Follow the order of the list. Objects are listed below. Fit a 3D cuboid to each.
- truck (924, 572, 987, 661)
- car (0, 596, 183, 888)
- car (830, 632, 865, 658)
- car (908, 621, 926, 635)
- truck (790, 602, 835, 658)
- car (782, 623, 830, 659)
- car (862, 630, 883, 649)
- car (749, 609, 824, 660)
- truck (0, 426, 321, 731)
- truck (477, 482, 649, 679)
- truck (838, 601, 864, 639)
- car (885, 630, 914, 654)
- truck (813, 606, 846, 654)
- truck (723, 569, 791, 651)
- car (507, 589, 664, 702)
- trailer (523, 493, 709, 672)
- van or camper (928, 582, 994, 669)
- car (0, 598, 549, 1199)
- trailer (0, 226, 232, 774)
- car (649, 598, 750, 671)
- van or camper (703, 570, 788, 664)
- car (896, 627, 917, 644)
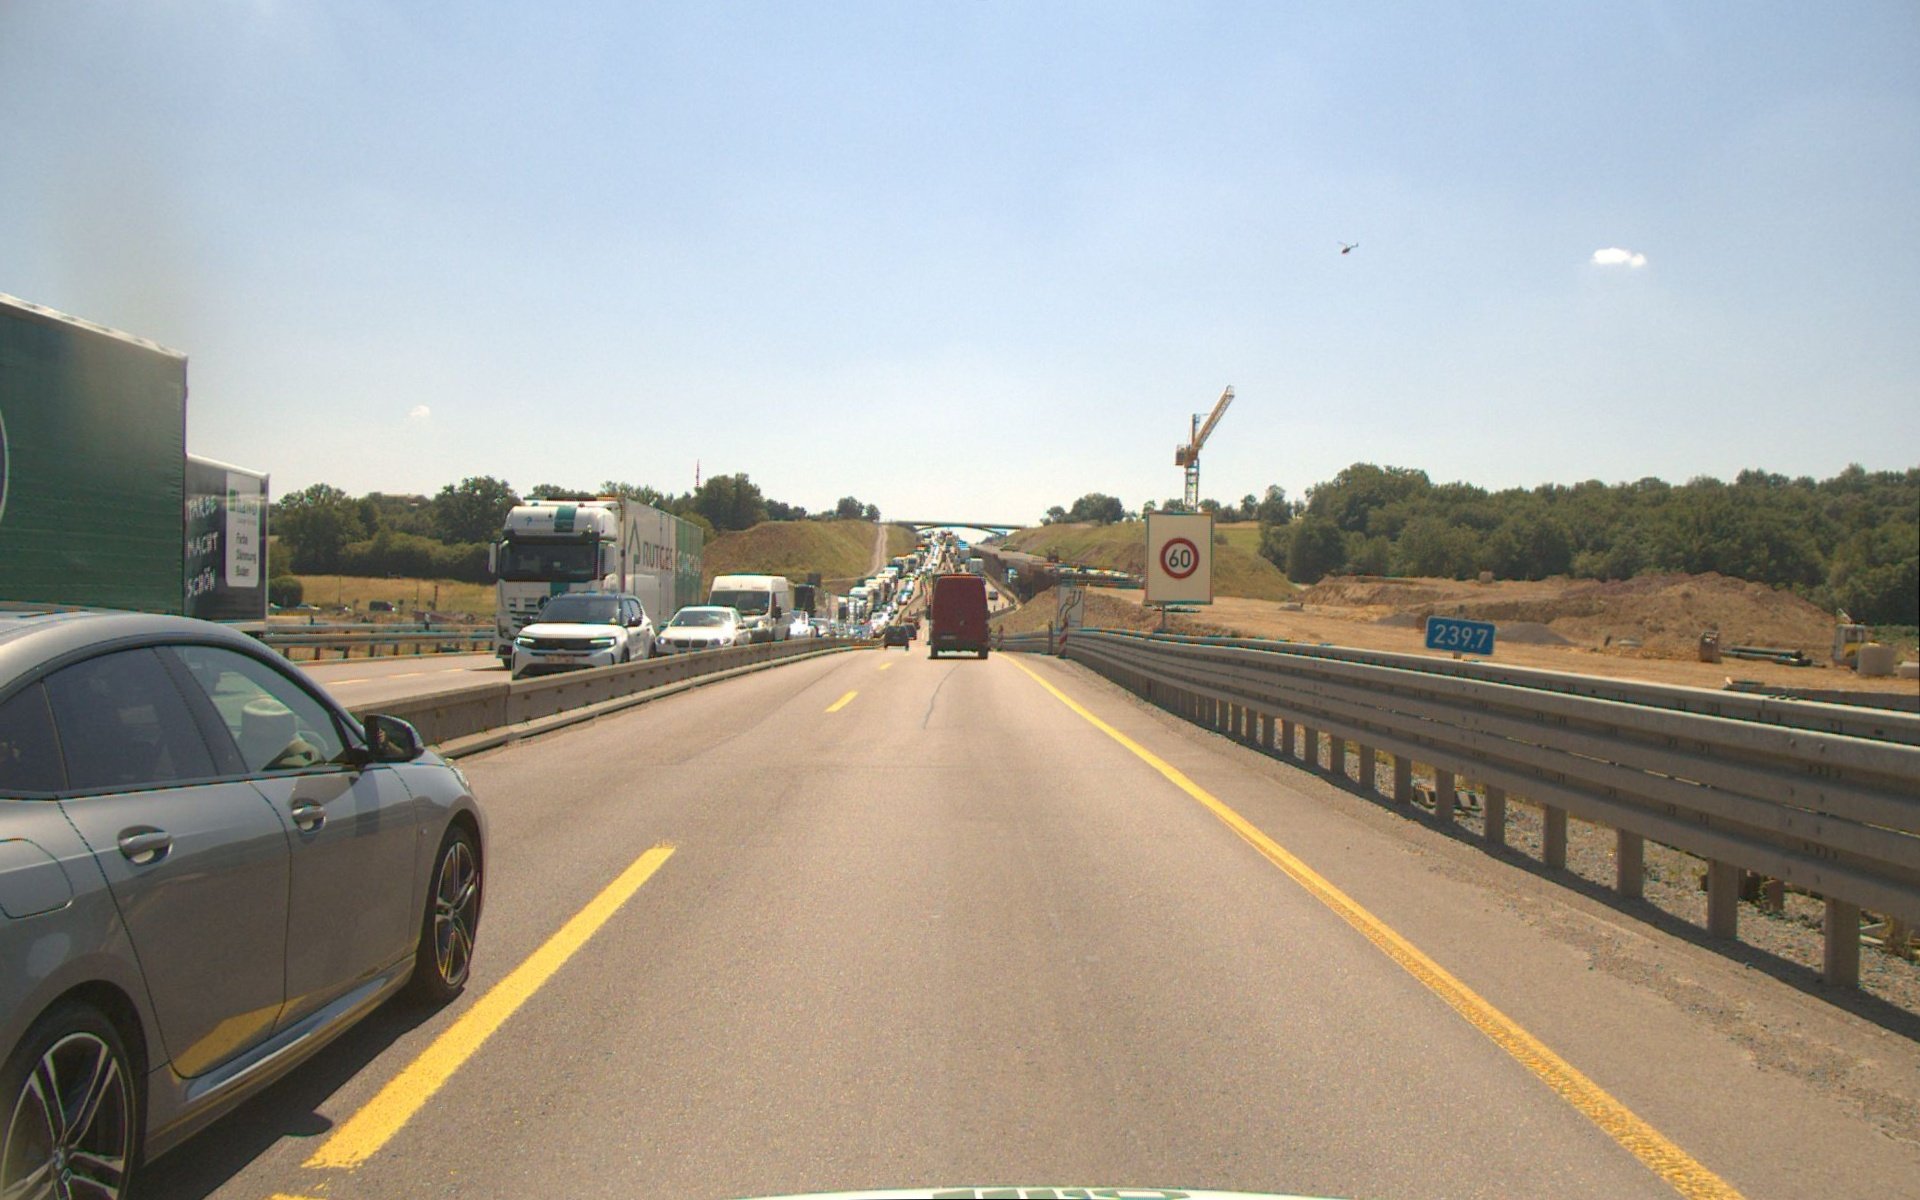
[{"bbox_3d":[-0.320,0.898,93.678,2.961,4.775,6.925,-1,0,-5],"label":"truck"},{"bbox_3d":[-5.898,0.723,8.258,1.827,1.484,4.606,2,0,-1],"label":"car"},{"bbox_3d":[-7.112,2.806,104.986,1.879,1.448,5.089,3,0,-2],"label":"car"},{"bbox_3d":[-5.111,3.292,194.872,1.971,1.572,4.132,2,0,0],"label":"car"},{"bbox_3d":[-11.499,2.340,129.523,3.035,4.271,6.698,1,-1,-2],"label":"truck"},{"bbox_3d":[-7.109,1.875,76.792,1.844,1.457,5.123,2,0,-2],"label":"car"},{"bbox_3d":[-8.487,3.833,161.186,1.953,1.660,4.756,2,0,-2],"label":"car"},{"bbox_3d":[-6.677,1.289,64.245,2.323,1.756,5.780,2,0,-1],"label":"car"},{"bbox_3d":[-12.755,-0.303,25.109,2.845,3.830,8.366,2,0,-1],"label":"truck"},{"bbox_3d":[-9.621,-0.436,40.776,2.749,4.469,6.224,0,0,-1],"label":"truck"},{"bbox_3d":[-11.618,2.174,177.317,2.474,3.923,8.667,1,-1,-2],"label":"truck"},{"bbox_3d":[-4.299,2.955,116.920,1.971,1.572,4.130,1,0,-3],"label":"car"},{"bbox_3d":[-11.966,2.745,151.720,2.919,4.258,5.868,1,-1,-5],"label":"truck"},{"bbox_3d":[-11.144,0.630,91.712,2.746,4.225,10.073,2,-1,-2],"label":"truck"},{"bbox_3d":[-6.161,0.710,27.652,1.721,1.675,4.154,2,0,-2],"label":"car"},{"bbox_3d":[-9.661,-0.304,48.252,2.758,4.508,13.165,0,-1,0],"label":"trailer"},{"bbox_3d":[-0.015,0.852,56.003,1.989,2.792,4.512,1,0,-3],"label":"van or camper"},{"bbox_3d":[-2.632,0.739,4.540,1.814,1.477,4.742,0,0,0],"label":"car"},{"bbox_3d":[-9.452,-0.827,11.626,3.038,4.543,13.017,0,0,-1],"label":"trailer"},{"bbox_3d":[-6.083,0.756,39.118,1.955,1.524,4.969,2,0,-5],"label":"car"},{"bbox_3d":[-6.347,0.467,49.639,2.175,2.555,6.526,2,0,-5],"label":"van or camper"},{"bbox_3d":[-5.298,3.484,163.600,1.971,1.572,4.131,2,0,-2],"label":"car"}]
